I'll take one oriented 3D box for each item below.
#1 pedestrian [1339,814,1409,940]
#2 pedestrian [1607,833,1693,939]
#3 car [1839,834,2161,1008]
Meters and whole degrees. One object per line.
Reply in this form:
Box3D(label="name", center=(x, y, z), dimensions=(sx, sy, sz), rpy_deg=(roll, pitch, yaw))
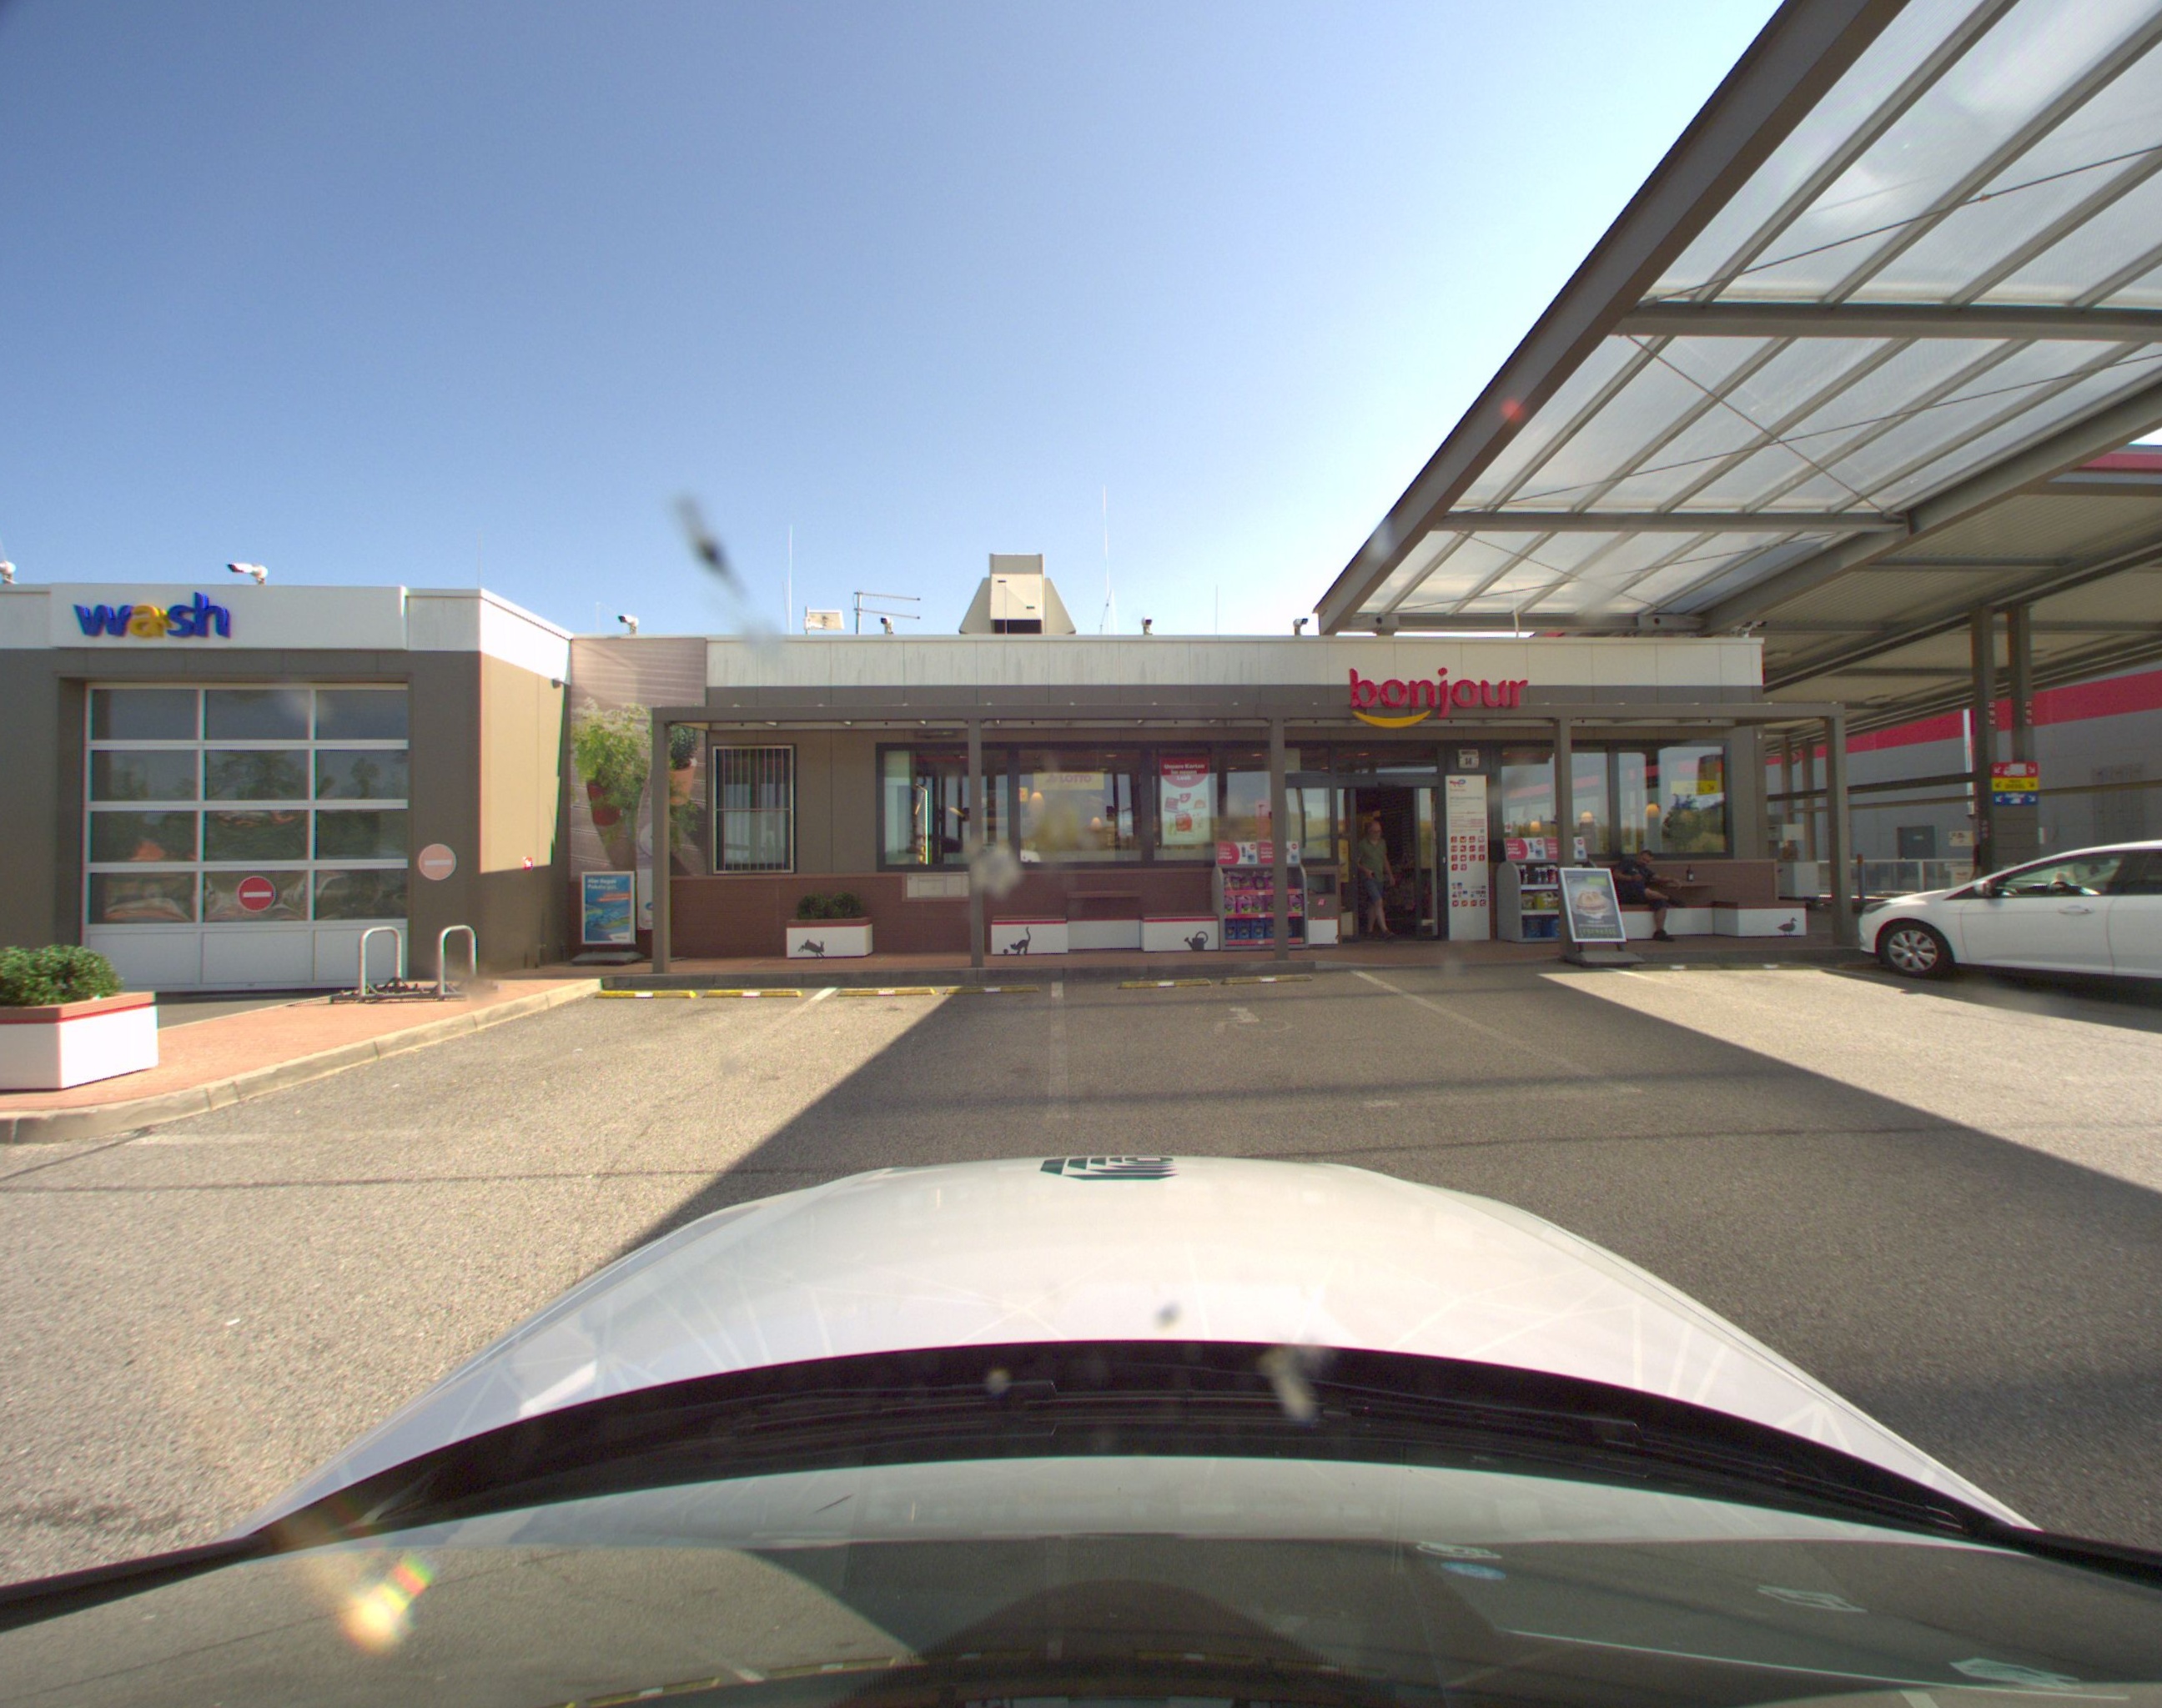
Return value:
Box3D(label="pedestrian", center=(4.316, 0.329, 12.063), dimensions=(0.699, 1.797, 0.862), rpy_deg=(-1, 0, 1))
Box3D(label="pedestrian", center=(7.924, 0.433, 11.366), dimensions=(0.700, 1.432, 0.672), rpy_deg=(-1, 0, -4))
Box3D(label="car", center=(9.911, 0.545, 7.342), dimensions=(1.829, 1.457, 4.308), rpy_deg=(-1, 0, -9))
